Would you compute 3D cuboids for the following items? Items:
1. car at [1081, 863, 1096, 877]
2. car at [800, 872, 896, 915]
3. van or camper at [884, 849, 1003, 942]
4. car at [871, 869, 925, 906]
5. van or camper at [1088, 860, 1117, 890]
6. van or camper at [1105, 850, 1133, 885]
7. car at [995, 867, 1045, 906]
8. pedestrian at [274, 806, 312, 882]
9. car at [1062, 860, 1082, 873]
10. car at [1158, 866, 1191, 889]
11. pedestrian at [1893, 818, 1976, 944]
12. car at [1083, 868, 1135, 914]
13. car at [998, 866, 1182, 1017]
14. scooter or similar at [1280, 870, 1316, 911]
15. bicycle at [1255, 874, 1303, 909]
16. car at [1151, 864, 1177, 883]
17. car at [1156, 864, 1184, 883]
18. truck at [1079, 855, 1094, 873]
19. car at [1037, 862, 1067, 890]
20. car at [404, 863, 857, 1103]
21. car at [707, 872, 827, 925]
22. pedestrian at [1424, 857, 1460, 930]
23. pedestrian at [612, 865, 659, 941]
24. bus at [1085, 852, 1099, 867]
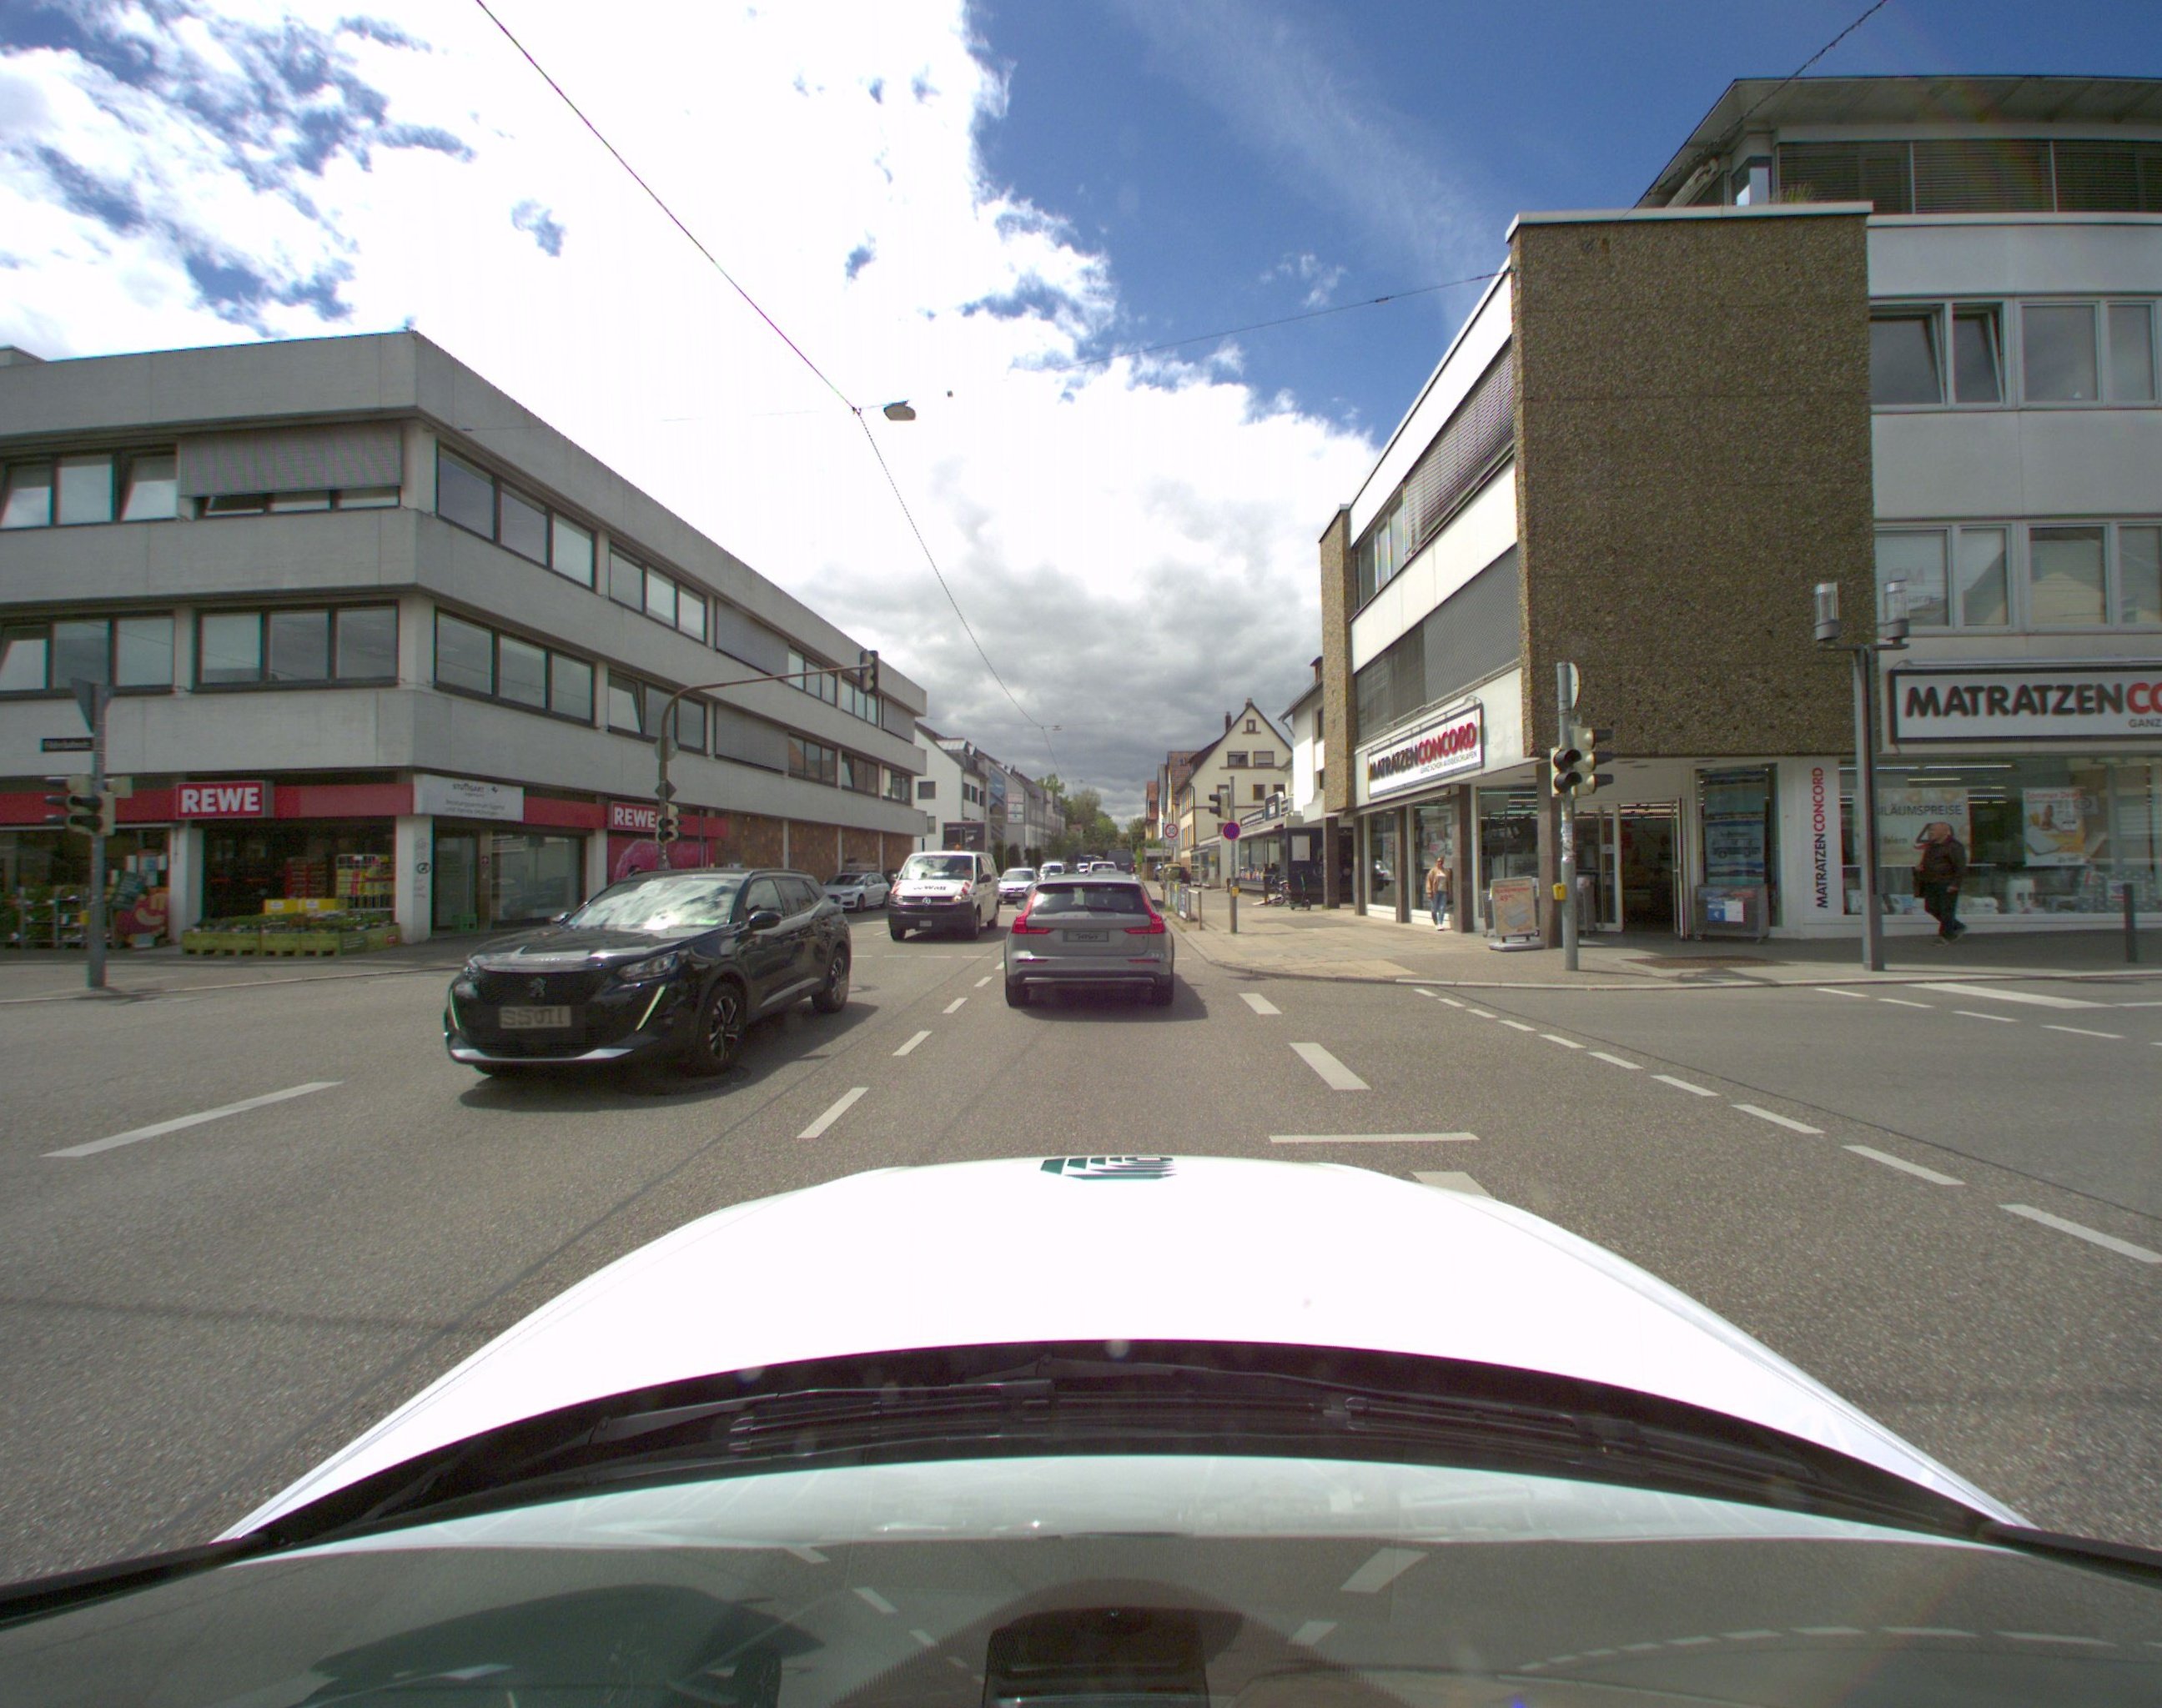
[{"bbox_3d":[1.053,2.242,111.664,1.790,1.816,4.002,0,-2,2],"label":"car"},{"bbox_3d":[-8.630,1.427,30.609,1.894,1.443,4.450,1,-1,6],"label":"car"},{"bbox_3d":[-3.046,0.856,19.035,1.858,1.898,4.694,-1,0,1],"label":"van or camper"},{"bbox_3d":[-8.150,1.470,36.502,1.601,1.543,2.946,1,-1,2],"label":"car"},{"bbox_3d":[1.424,1.439,54.129,1.813,1.835,4.000,-1,-3,1],"label":"van or camper"},{"bbox_3d":[3.034,1.051,65.700,2.115,2.686,4.784,-1,-1,2],"label":"van or camper"},{"bbox_3d":[-2.569,1.331,35.059,1.662,1.554,4.217,-1,-1,2],"label":"car"},{"bbox_3d":[-18.482,-0.212,19.111,0.389,1.739,0.773,1,-3,-27],"label":"pedestrian"},{"bbox_3d":[-0.978,1.402,93.245,1.753,1.426,4.007,-2,0,6],"label":"car"},{"bbox_3d":[6.139,1.561,53.936,1.705,1.464,3.998,0,-2,0],"label":"car"},{"bbox_3d":[12.072,0.371,11.523,0.582,1.706,0.614,-3,-1,-31],"label":"pedestrian"},{"bbox_3d":[0.935,1.226,27.870,1.644,1.482,3.608,0,-1,1],"label":"car"},{"bbox_3d":[0.131,0.913,10.149,1.829,1.486,4.000,-1,-1,1],"label":"car"},{"bbox_3d":[6.892,1.165,25.888,0.342,1.253,1.235,-2,-2,-24],"label":"scooter or similar"},{"bbox_3d":[6.984,1.298,28.848,0.555,1.144,2.287,-1,-1,-16],"label":"bicycle"},{"bbox_3d":[6.857,1.636,67.519,1.875,1.500,3.973,0,-2,2],"label":"car"},{"bbox_3d":[6.843,1.501,62.835,1.875,1.416,3.973,0,-2,2],"label":"car"},{"bbox_3d":[0.985,1.641,136.372,2.267,2.887,7.083,-1,-1,2],"label":"truck"},{"bbox_3d":[-1.973,1.512,56.724,1.831,1.917,4.156,0,-1,1],"label":"car"},{"bbox_3d":[-3.427,0.852,7.177,1.676,1.497,3.968,-1,-1,2],"label":"car"},{"bbox_3d":[-9.566,1.313,25.209,1.776,1.464,4.092,1,-1,5],"label":"car"},{"bbox_3d":[7.435,0.802,16.803,0.500,1.459,0.502,-4,-2,15],"label":"pedestrian"},{"bbox_3d":[-9.760,1.059,17.856,0.616,1.641,0.661,-1,-1,2],"label":"pedestrian"},{"bbox_3d":[2.129,1.090,153.520,2.267,2.668,7.433,-2,0,2],"label":"bus"}]
